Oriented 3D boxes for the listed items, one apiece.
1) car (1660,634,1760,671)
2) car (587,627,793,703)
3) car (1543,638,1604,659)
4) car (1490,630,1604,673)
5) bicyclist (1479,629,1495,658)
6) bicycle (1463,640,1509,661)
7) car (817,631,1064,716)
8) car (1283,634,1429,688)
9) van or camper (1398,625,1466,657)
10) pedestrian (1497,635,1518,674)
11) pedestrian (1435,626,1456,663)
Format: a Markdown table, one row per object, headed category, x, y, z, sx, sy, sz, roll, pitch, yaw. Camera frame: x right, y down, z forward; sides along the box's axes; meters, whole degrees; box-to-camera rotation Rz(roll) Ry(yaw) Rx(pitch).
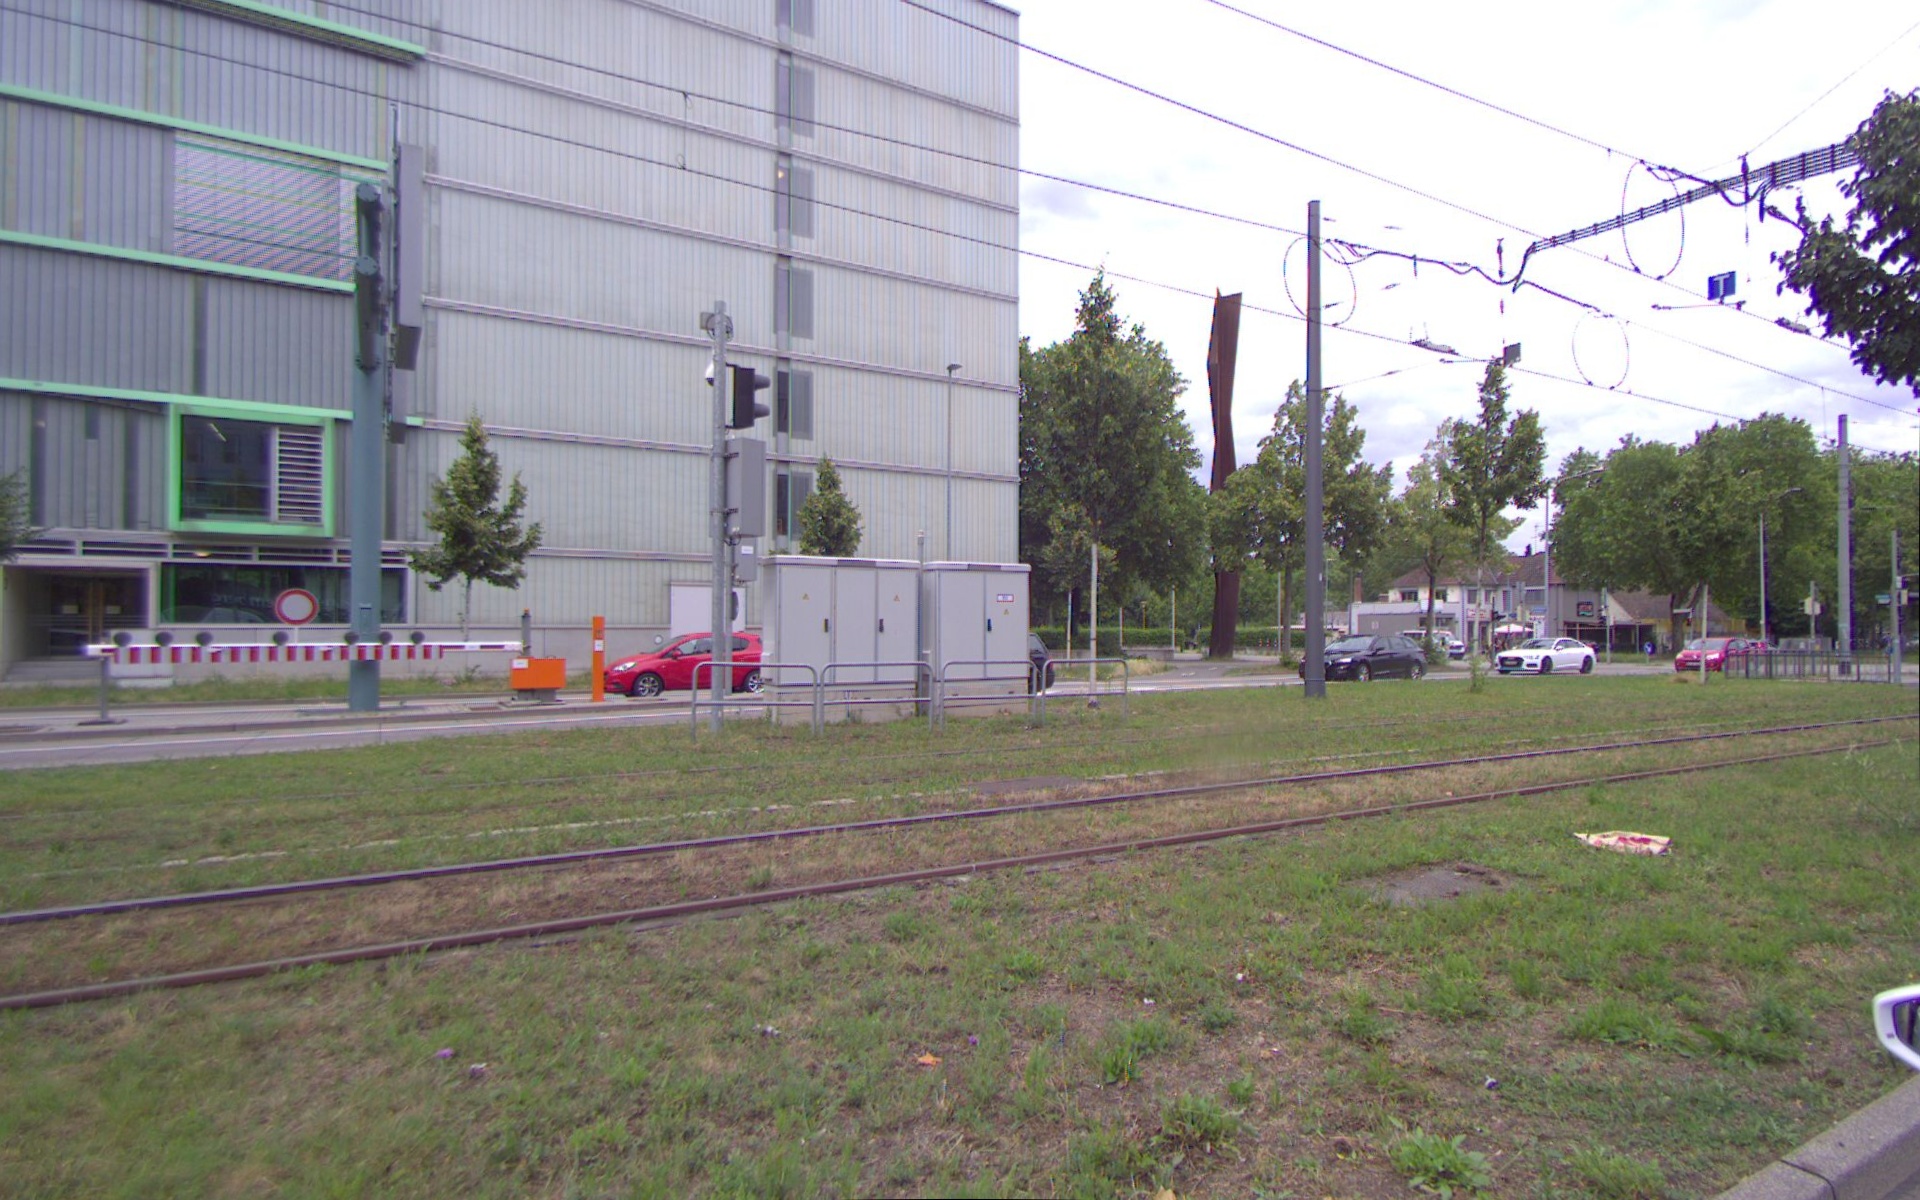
| category | x | y | z | sx | sy | sz | roll | pitch | yaw |
| --- | --- | --- | --- | --- | --- | --- | --- | --- | --- |
| car | 30.479 | 2.109 | 40.813 | 4.220 | 1.395 | 1.802 | 1 | -2 | -31 |
| car | -6.186 | 1.423 | 23.120 | 4.275 | 1.591 | 1.788 | 1 | -1 | -29 |
| car | 54.972 | 4.321 | 90.096 | 2.078 | 1.840 | 4.268 | 1 | -1 | -25 |
| car | 23.718 | 2.045 | 40.558 | 5.019 | 1.609 | 1.802 | 1 | -1 | -31 |
| bicyclist | 32.730 | 2.694 | 62.367 | 0.838 | 1.744 | 0.719 | 0 | -1 | 34 |
| bicycle | 32.684 | 3.127 | 62.389 | 2.474 | 1.218 | 0.738 | -1 | -1 | 35 |
| car | -0.286 | 1.342 | 19.360 | 4.702 | 1.445 | 1.652 | 1 | -3 | -37 |
| car | 11.148 | 1.654 | 28.227 | 4.011 | 1.395 | 1.792 | 1 | -2 | -31 |
| van or camper | 32.418 | 2.778 | 69.187 | 2.416 | 2.040 | 5.283 | 0 | -1 | 2 |
| pedestrian | 26.786 | 2.663 | 49.146 | 0.769 | 1.856 | 0.771 | -1 | -1 | 43 |
| pedestrian | 27.170 | 2.501 | 56.216 | 0.887 | 2.040 | 0.954 | 0 | -1 | 18 |
